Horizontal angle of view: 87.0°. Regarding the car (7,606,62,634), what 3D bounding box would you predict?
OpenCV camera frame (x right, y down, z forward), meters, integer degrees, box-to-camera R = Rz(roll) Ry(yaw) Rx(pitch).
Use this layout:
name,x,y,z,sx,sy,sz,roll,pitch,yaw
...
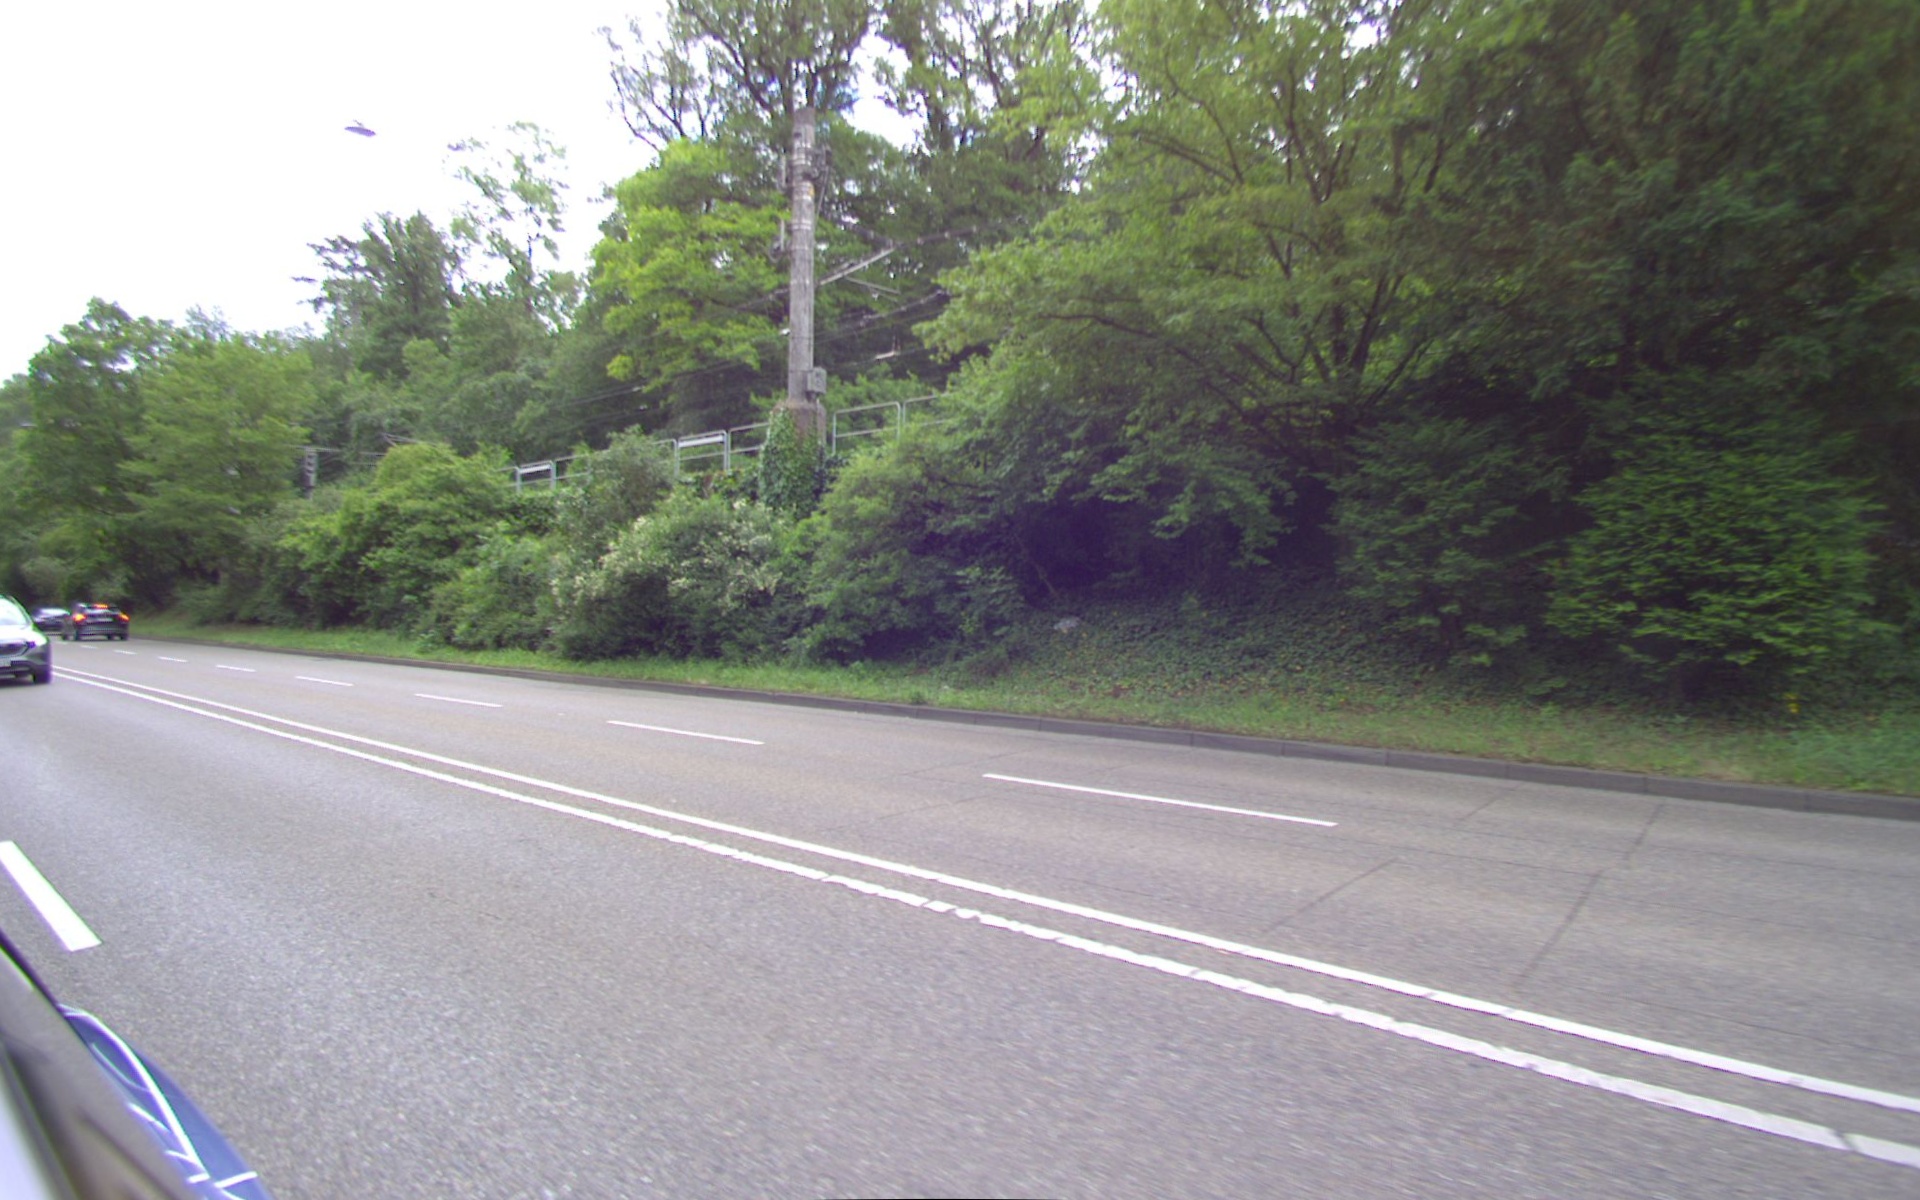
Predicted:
name,x,y,z,sx,sy,sz,roll,pitch,yaw
car,-46.046,0.989,50.328,3.998,1.322,1.625,0,-1,41

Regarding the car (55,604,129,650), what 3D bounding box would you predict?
name,x,y,z,sx,sy,sz,roll,pitch,yaw
car,-36.145,1.087,42.110,4.067,1.608,1.718,4,2,41

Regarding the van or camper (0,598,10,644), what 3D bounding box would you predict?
name,x,y,z,sx,sy,sz,roll,pitch,yaw
van or camper,-45.393,0.925,46.385,5.364,2.029,1.973,0,-2,40

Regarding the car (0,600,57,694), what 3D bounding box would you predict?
name,x,y,z,sx,sy,sz,roll,pitch,yaw
car,-18.760,0.843,19.235,4.190,1.675,1.847,0,-1,41
